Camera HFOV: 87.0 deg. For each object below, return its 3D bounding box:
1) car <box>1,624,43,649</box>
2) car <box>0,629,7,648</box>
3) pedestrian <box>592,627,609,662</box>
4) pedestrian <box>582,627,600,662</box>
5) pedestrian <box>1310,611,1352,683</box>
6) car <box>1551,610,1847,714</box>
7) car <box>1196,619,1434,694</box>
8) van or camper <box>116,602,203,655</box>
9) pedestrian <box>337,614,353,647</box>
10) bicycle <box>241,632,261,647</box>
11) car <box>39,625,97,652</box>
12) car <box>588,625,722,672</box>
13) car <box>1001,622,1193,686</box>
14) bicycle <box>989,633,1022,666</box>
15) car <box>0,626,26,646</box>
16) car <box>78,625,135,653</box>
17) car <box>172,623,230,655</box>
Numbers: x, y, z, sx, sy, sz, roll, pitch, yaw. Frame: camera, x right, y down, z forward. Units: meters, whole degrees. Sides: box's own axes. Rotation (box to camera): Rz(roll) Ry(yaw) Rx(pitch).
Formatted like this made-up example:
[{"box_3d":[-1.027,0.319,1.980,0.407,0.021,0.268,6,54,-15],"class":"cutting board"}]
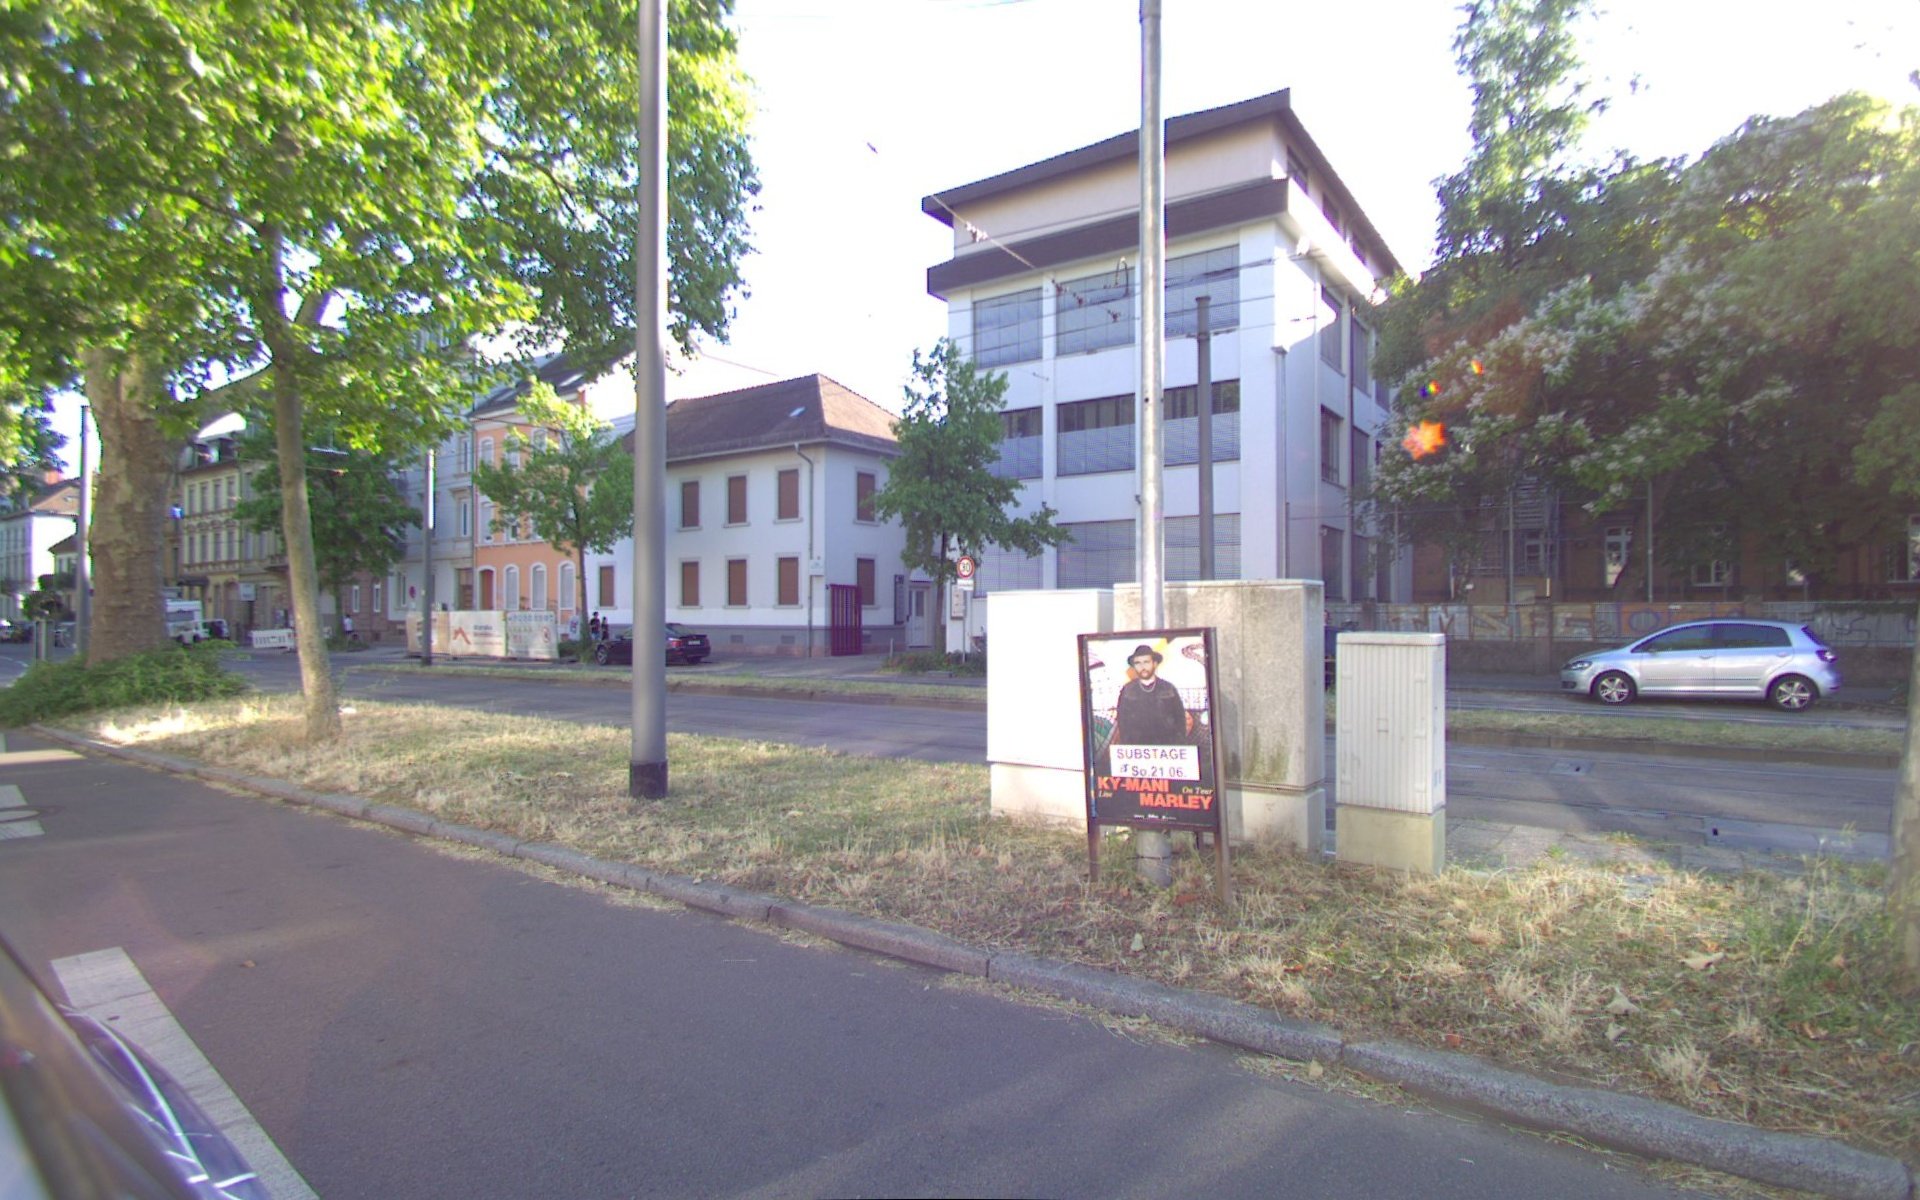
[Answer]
[{"box_3d":[-73.192,2.842,78.939,3.619,1.759,1.709,-1,2,36],"class":"car"},{"box_3d":[-81.245,3.220,84.522,4.460,1.502,1.569,-1,0,35],"class":"car"},{"box_3d":[-14.832,1.813,41.761,0.470,1.428,0.453,-1,-2,30],"class":"pedestrian"},{"box_3d":[-14.905,1.797,40.879,0.470,1.428,0.453,-1,-2,30],"class":"pedestrian"},{"box_3d":[8.641,1.080,23.565,0.731,1.633,0.629,-1,-1,40],"class":"pedestrian"},{"box_3d":[13.322,1.065,18.562,4.167,1.702,1.977,-1,-2,34],"class":"car"},{"box_3d":[7.792,1.190,22.375,4.638,1.487,1.977,-1,-2,34],"class":"car"},{"box_3d":[-49.242,1.727,62.193,7.238,2.969,2.397,-1,2,37],"class":"van or camper"},{"box_3d":[-34.348,1.725,56.525,0.480,1.832,0.592,-1,-2,36],"class":"pedestrian"},{"box_3d":[-44.896,2.495,64.077,1.789,0.931,0.573,-1,-2,38],"class":"bicycle"},{"box_3d":[-63.336,2.704,71.873,4.739,1.715,1.977,-1,2,35],"class":"car"},{"box_3d":[-10.606,1.633,35.106,4.714,1.525,1.976,-1,-2,35],"class":"car"},{"box_3d":[3.401,1.296,25.446,4.394,1.482,1.977,-1,-2,34],"class":"car"},{"box_3d":[1.437,1.549,31.969,1.016,1.010,0.300,-1,-2,35],"class":"bicycle"},{"box_3d":[-76.837,2.902,81.386,4.394,1.465,1.649,-1,1,35],"class":"car"},{"box_3d":[-57.205,2.581,67.817,4.432,1.718,1.795,-1,2,35],"class":"car"},{"box_3d":[-43.949,2.238,58.605,3.361,1.718,1.618,-1,1,33],"class":"car"}]
